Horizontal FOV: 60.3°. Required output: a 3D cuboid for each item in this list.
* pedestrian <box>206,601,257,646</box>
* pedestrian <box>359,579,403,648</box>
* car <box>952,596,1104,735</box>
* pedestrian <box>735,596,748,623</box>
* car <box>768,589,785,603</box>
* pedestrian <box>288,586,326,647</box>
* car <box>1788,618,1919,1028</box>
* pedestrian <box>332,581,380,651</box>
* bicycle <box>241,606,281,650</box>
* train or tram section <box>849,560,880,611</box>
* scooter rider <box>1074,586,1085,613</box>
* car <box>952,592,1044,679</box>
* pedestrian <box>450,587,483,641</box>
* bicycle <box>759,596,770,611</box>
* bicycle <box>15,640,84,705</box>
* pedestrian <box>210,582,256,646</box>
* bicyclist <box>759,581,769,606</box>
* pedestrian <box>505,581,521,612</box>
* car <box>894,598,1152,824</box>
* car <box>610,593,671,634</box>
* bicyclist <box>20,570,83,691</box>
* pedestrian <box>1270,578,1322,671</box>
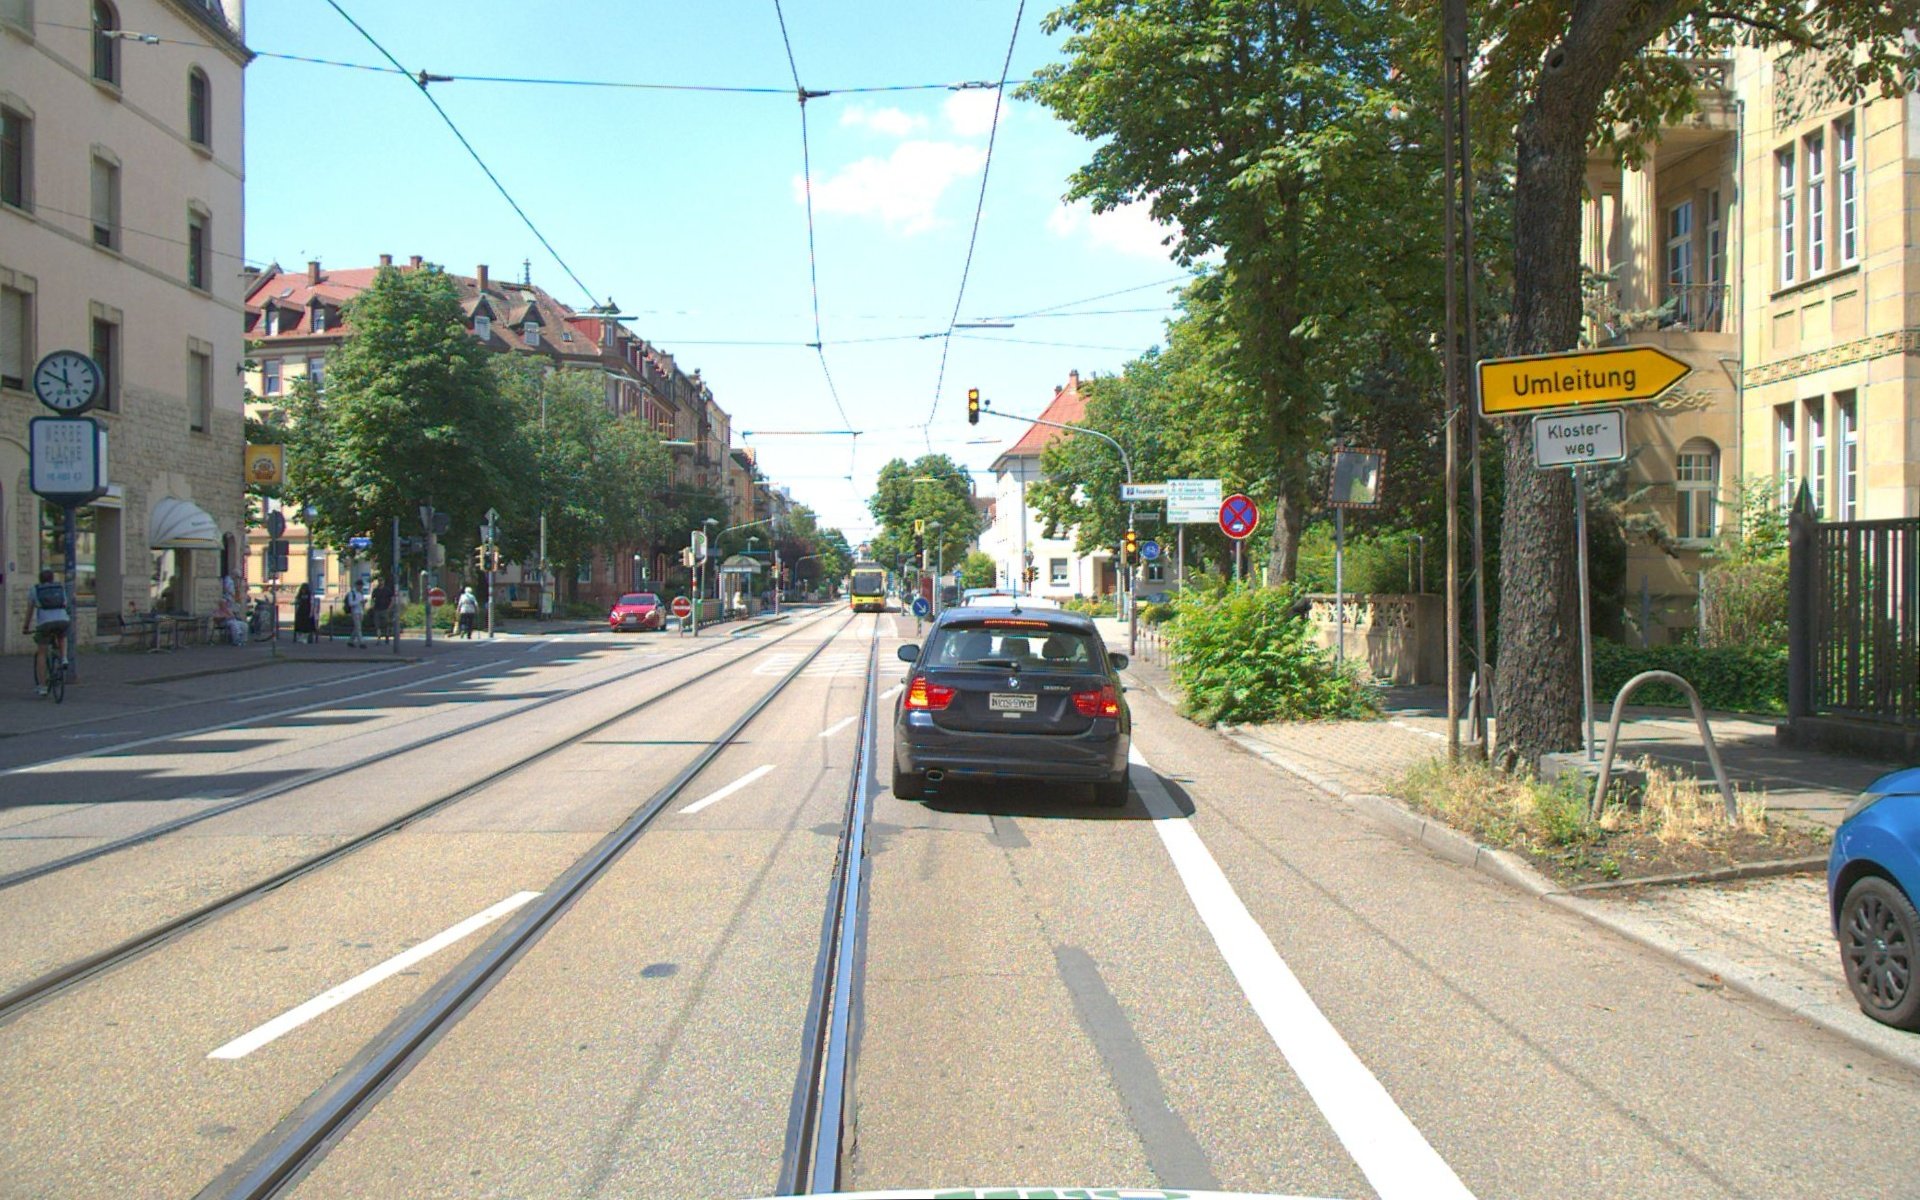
[{"bbox_3d":[-18.125,0.579,41.166,0.897,1.096,0.882,0,0,-2],"label":"pedestrian"},{"bbox_3d":[-16.530,0.378,47.256,0.883,1.924,1.164,0,0,-4],"label":"pedestrian"},{"bbox_3d":[0.740,0.724,20.113,1.651,1.510,3.684,0,0,-1],"label":"car"},{"bbox_3d":[-10.152,0.449,76.897,0.602,1.264,0.627,0,0,-9],"label":"pedestrian"},{"bbox_3d":[-22.328,-0.505,200.984,1.755,1.614,3.989,1,0,-11],"label":"car"},{"bbox_3d":[-18.032,0.458,45.674,0.846,1.664,1.022,0,0,-14],"label":"pedestrian"},{"bbox_3d":[4.384,0.807,5.035,1.644,1.468,3.718,-3,0,-4],"label":"car"},{"bbox_3d":[-15.602,0.408,42.746,0.843,1.763,0.774,1,0,29],"label":"pedestrian"},{"bbox_3d":[-18.877,0.759,44.653,0.539,1.148,1.658,0,-2,-39],"label":"bicycle"},{"bbox_3d":[-6.859,-1.042,119.783,2.146,3.543,8.840,0,0,-3],"label":"train or tram section"},{"bbox_3d":[7.660,-0.034,106.081,0.579,1.716,0.527,0,0,-8],"label":"scooter rider"},{"bbox_3d":[0.717,0.644,32.198,1.656,1.540,3.821,1,0,0],"label":"car"},{"bbox_3d":[-16.090,0.445,53.947,0.905,1.753,0.833,0,0,-27],"label":"pedestrian"},{"bbox_3d":[-14.821,0.238,125.331,0.714,1.121,1.714,0,0,-3],"label":"bicycle"},{"bbox_3d":[-13.030,1.019,23.641,0.745,0.832,1.799,0,0,-33],"label":"bicycle"},{"bbox_3d":[-18.828,0.355,42.848,0.899,1.622,0.808,0,0,-6],"label":"pedestrian"},{"bbox_3d":[-14.819,-0.477,125.194,0.708,1.903,0.825,0,0,-2],"label":"bicyclist"},{"bbox_3d":[-26.994,-0.197,99.938,0.733,1.843,0.632,0,0,-40],"label":"pedestrian"},{"bbox_3d":[0.404,0.749,13.413,1.687,1.433,4.564,2,0,-1],"label":"car"},{"bbox_3d":[-12.204,0.487,63.394,1.787,1.438,4.425,-2,0,-5],"label":"car"},{"bbox_3d":[-12.992,0.435,23.648,0.748,1.692,0.822,2,-1,-30],"label":"bicyclist"},{"bbox_3d":[6.212,0.444,30.613,0.838,1.674,0.837,-1,0,6],"label":"pedestrian"}]
